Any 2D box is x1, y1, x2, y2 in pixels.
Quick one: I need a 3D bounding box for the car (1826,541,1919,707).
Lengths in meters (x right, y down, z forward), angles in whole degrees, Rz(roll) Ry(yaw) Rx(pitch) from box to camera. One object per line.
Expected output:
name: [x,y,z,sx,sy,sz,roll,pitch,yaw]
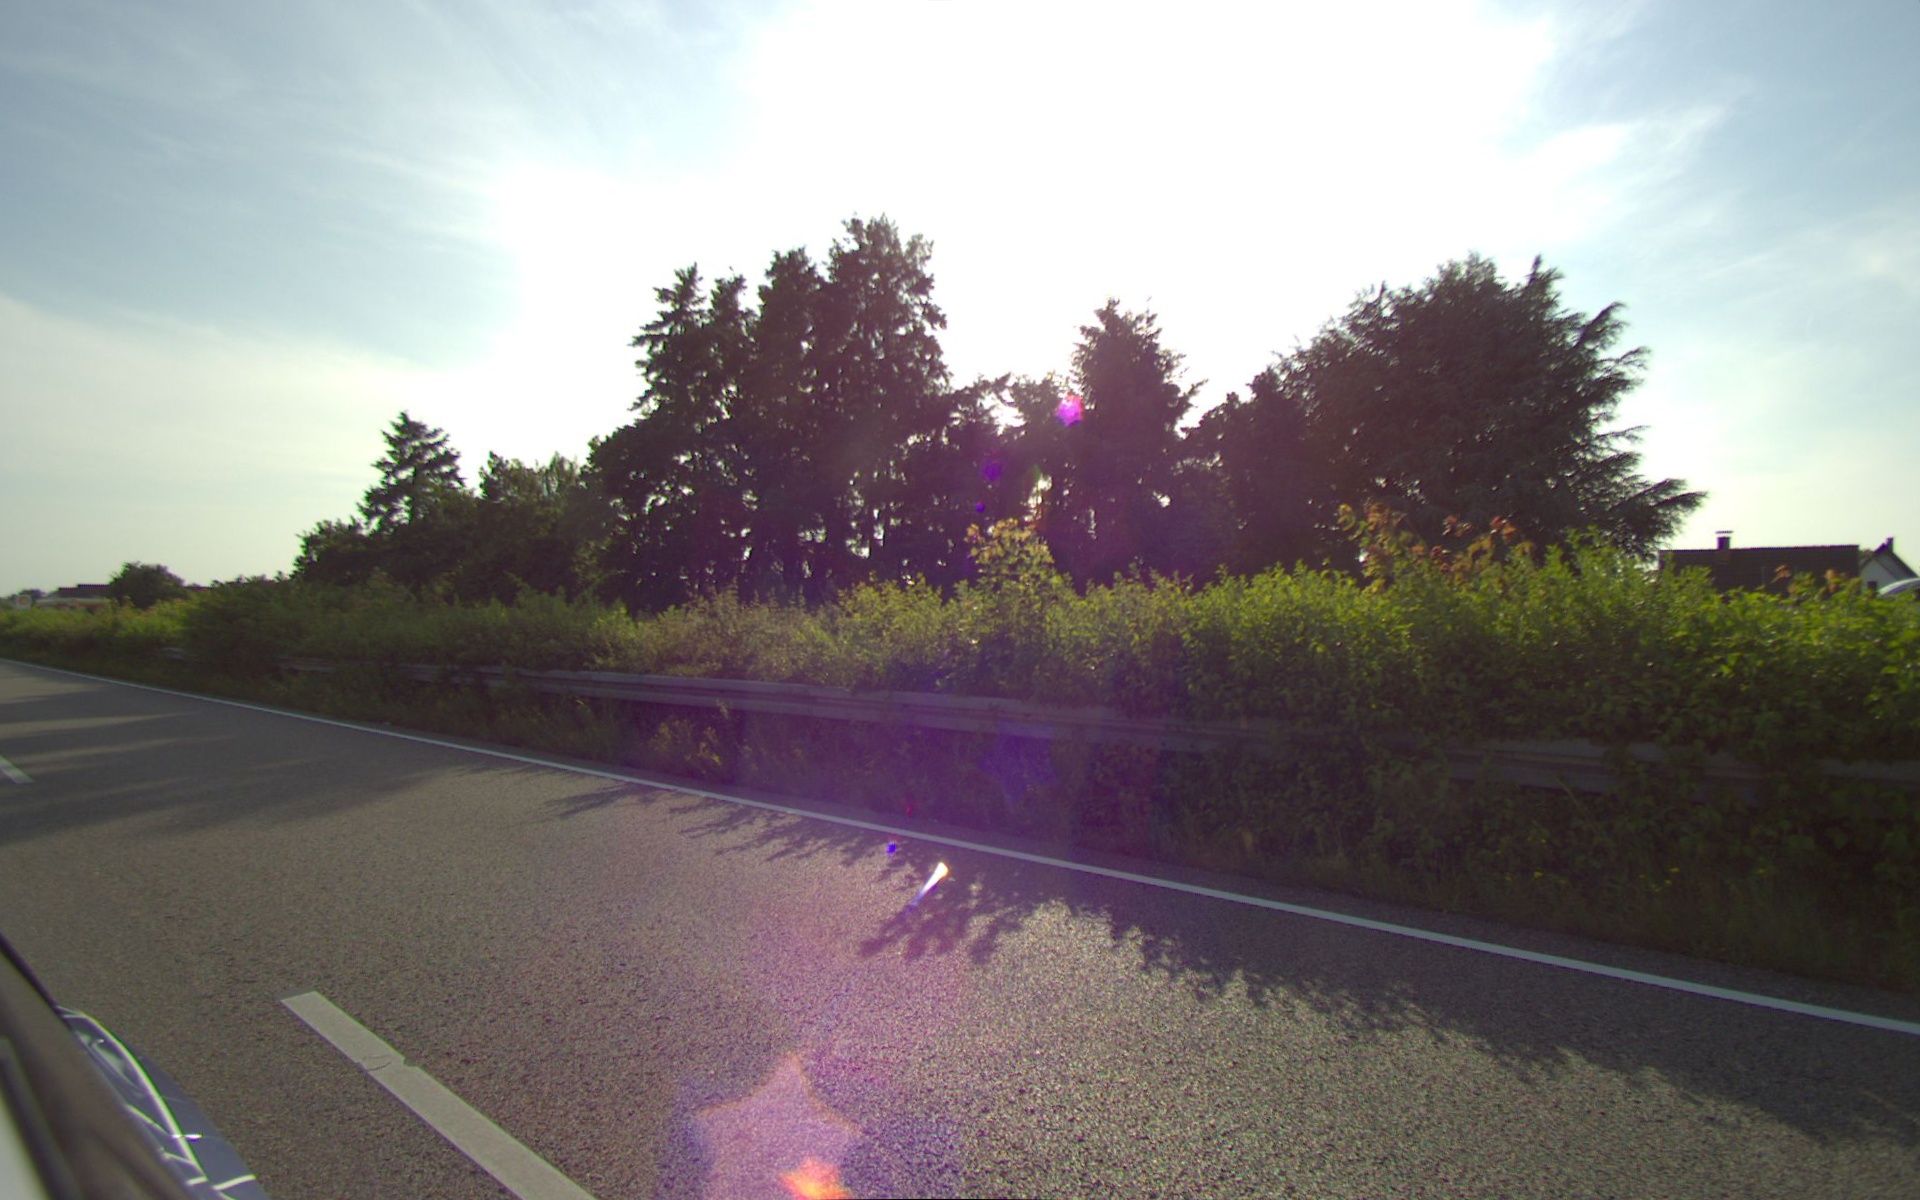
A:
car: [10.039,0.183,8.326,4.394,1.433,1.715,-1,-1,41]
